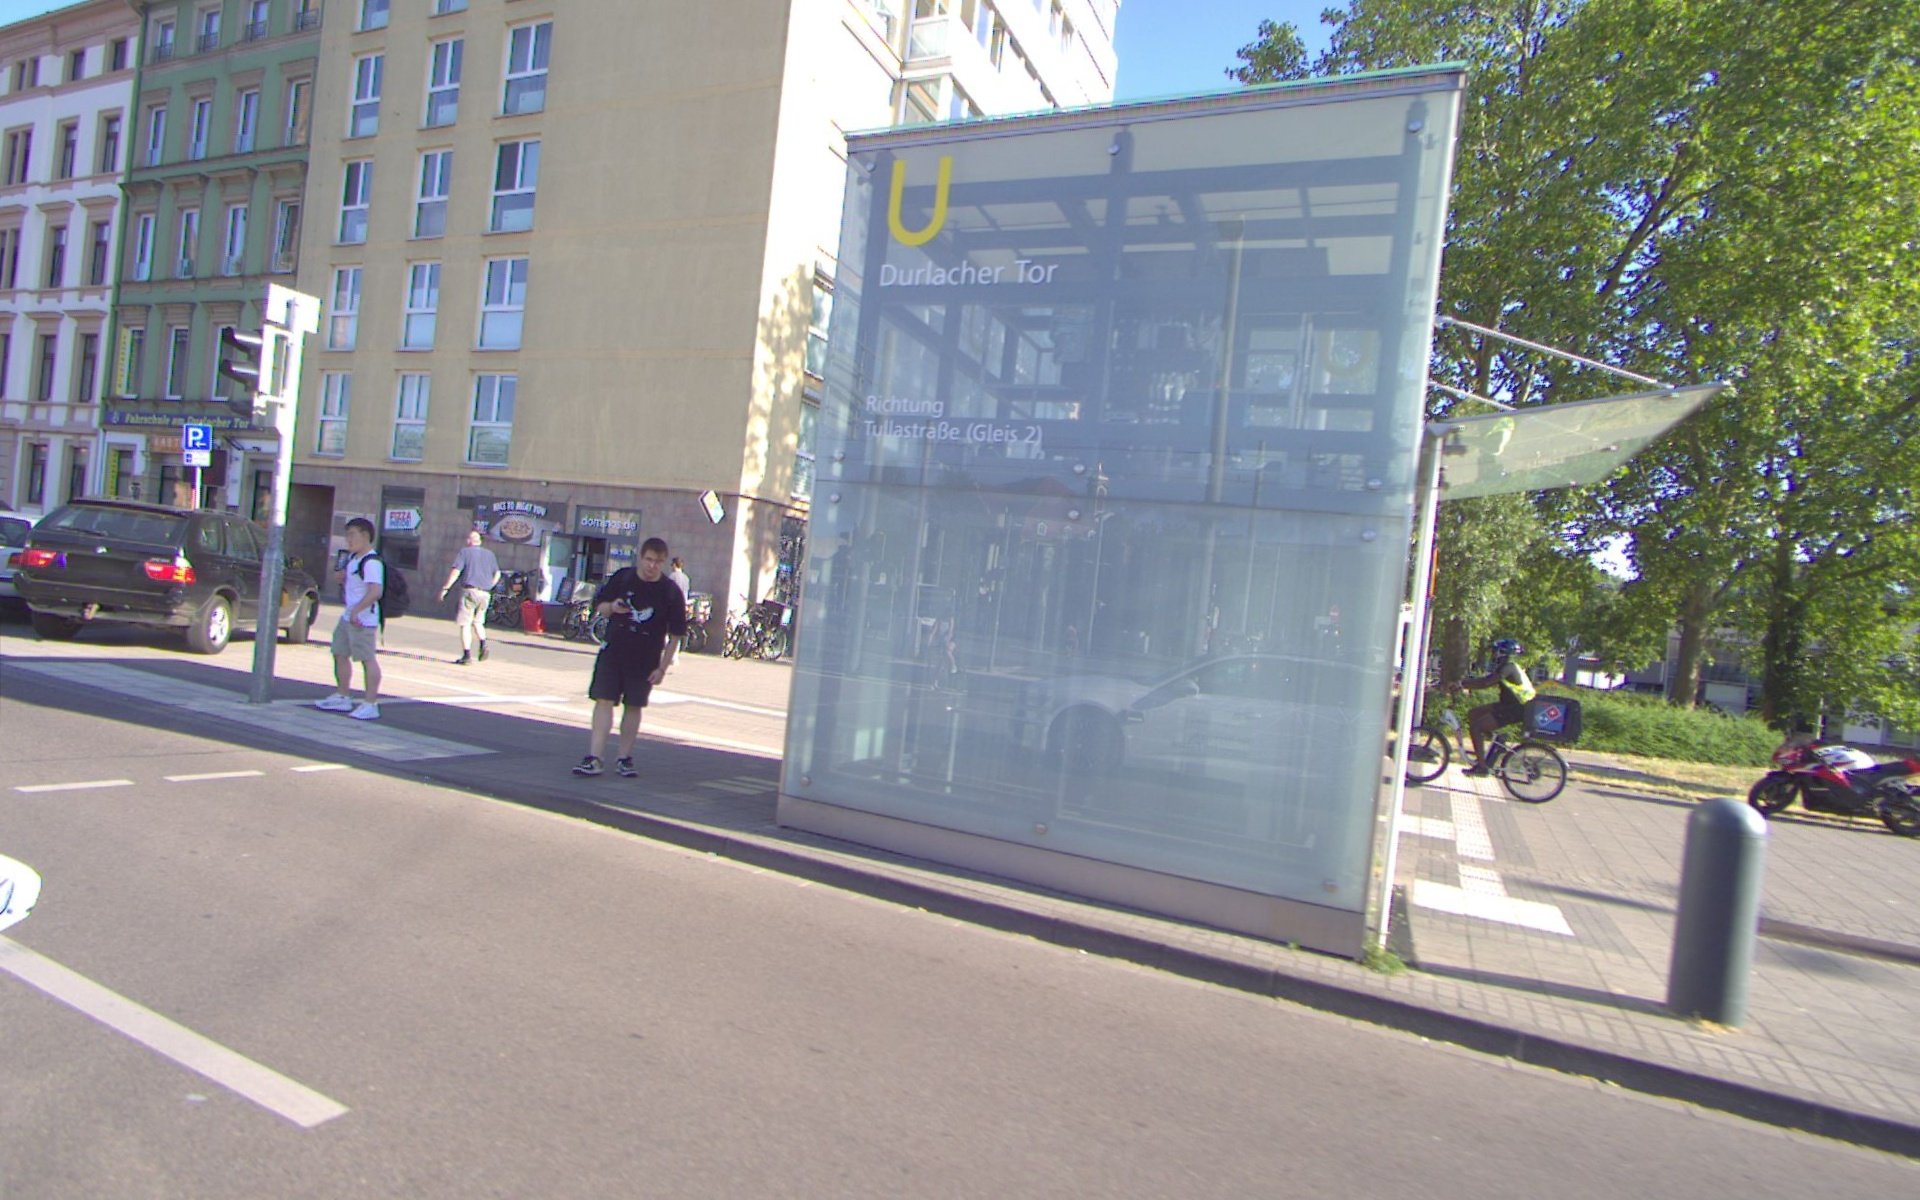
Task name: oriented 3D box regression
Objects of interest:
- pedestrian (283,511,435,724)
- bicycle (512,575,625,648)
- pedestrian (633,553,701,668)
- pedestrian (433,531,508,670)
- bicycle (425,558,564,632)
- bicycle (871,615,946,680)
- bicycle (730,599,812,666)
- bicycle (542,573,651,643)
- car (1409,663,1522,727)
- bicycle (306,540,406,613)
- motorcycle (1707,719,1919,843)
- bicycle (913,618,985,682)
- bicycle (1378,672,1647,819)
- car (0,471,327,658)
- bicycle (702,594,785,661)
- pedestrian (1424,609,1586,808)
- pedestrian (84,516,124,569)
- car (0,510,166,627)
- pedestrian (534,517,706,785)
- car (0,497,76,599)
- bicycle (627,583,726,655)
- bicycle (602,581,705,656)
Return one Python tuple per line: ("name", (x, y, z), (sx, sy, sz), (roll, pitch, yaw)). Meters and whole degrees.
("pedestrian", (-5.314, 0.154, 8.930), (0.739, 1.749, 0.698), (6, 1, 9))
("bicycle", (-8.042, 0.229, 20.626), (2.257, 1.265, 0.659), (6, 2, 23))
("pedestrian", (-5.119, 0.186, 17.623), (0.817, 1.890, 0.752), (6, 1, -5))
("pedestrian", (-7.048, 0.003, 14.512), (0.687, 1.890, 0.750), (6, 1, -17))
("bicycle", (-10.332, -0.118, 22.297), (3.006, 1.279, 0.987), (6, 0, 24))
("bicycle", (-1.088, 1.016, 21.814), (0.800, 1.264, 1.997), (6, 1, 20))
("bicycle", (-3.849, 0.668, 20.641), (0.647, 1.264, 1.899), (6, 1, 22))
("bicycle", (-7.748, 0.164, 21.395), (2.257, 1.265, 0.659), (6, 2, 23))
("car", (21.188, 3.952, 42.370), (3.927, 1.892, 1.854), (9, 2, 23))
("bicycle", (-14.193, -0.561, 23.623), (2.190, 1.375, 0.931), (9, 3, 29))
("motorcycle", (10.616, 2.188, 12.143), (2.238, 1.088, 1.040), (7, 2, 10))
("bicycle", (-0.201, 1.045, 21.511), (0.800, 1.215, 1.997), (6, 1, 20))
("bicycle", (6.341, 1.632, 11.772), (2.484, 1.138, 1.033), (9, 2, 20))
("car", (-10.241, -0.378, 13.237), (1.930, 1.835, 4.239), (7, -2, -16))
("bicycle", (-4.464, 0.570, 20.881), (0.647, 1.264, 1.899), (6, 1, 22))
("pedestrian", (6.322, 1.214, 11.773), (1.247, 2.040, 1.033), (9, 3, 20))
("pedestrian", (-23.275, -1.565, 27.357), (0.580, 1.335, 0.516), (6, 0, 18))
("car", (-13.105, -0.465, 14.093), (1.763, 1.415, 3.880), (7, -3, -18))
("pedestrian", (-2.417, 0.356, 7.253), (0.854, 1.749, 0.794), (6, 1, -6))
("car", (-16.194, -0.942, 15.691), (1.932, 1.616, 4.236), (7, -2, -18))
("bicycle", (-5.797, 0.380, 20.552), (1.865, 1.265, 0.659), (6, 2, 22))
("bicycle", (-6.068, 0.361, 19.878), (1.865, 1.265, 0.659), (6, 2, 22))
